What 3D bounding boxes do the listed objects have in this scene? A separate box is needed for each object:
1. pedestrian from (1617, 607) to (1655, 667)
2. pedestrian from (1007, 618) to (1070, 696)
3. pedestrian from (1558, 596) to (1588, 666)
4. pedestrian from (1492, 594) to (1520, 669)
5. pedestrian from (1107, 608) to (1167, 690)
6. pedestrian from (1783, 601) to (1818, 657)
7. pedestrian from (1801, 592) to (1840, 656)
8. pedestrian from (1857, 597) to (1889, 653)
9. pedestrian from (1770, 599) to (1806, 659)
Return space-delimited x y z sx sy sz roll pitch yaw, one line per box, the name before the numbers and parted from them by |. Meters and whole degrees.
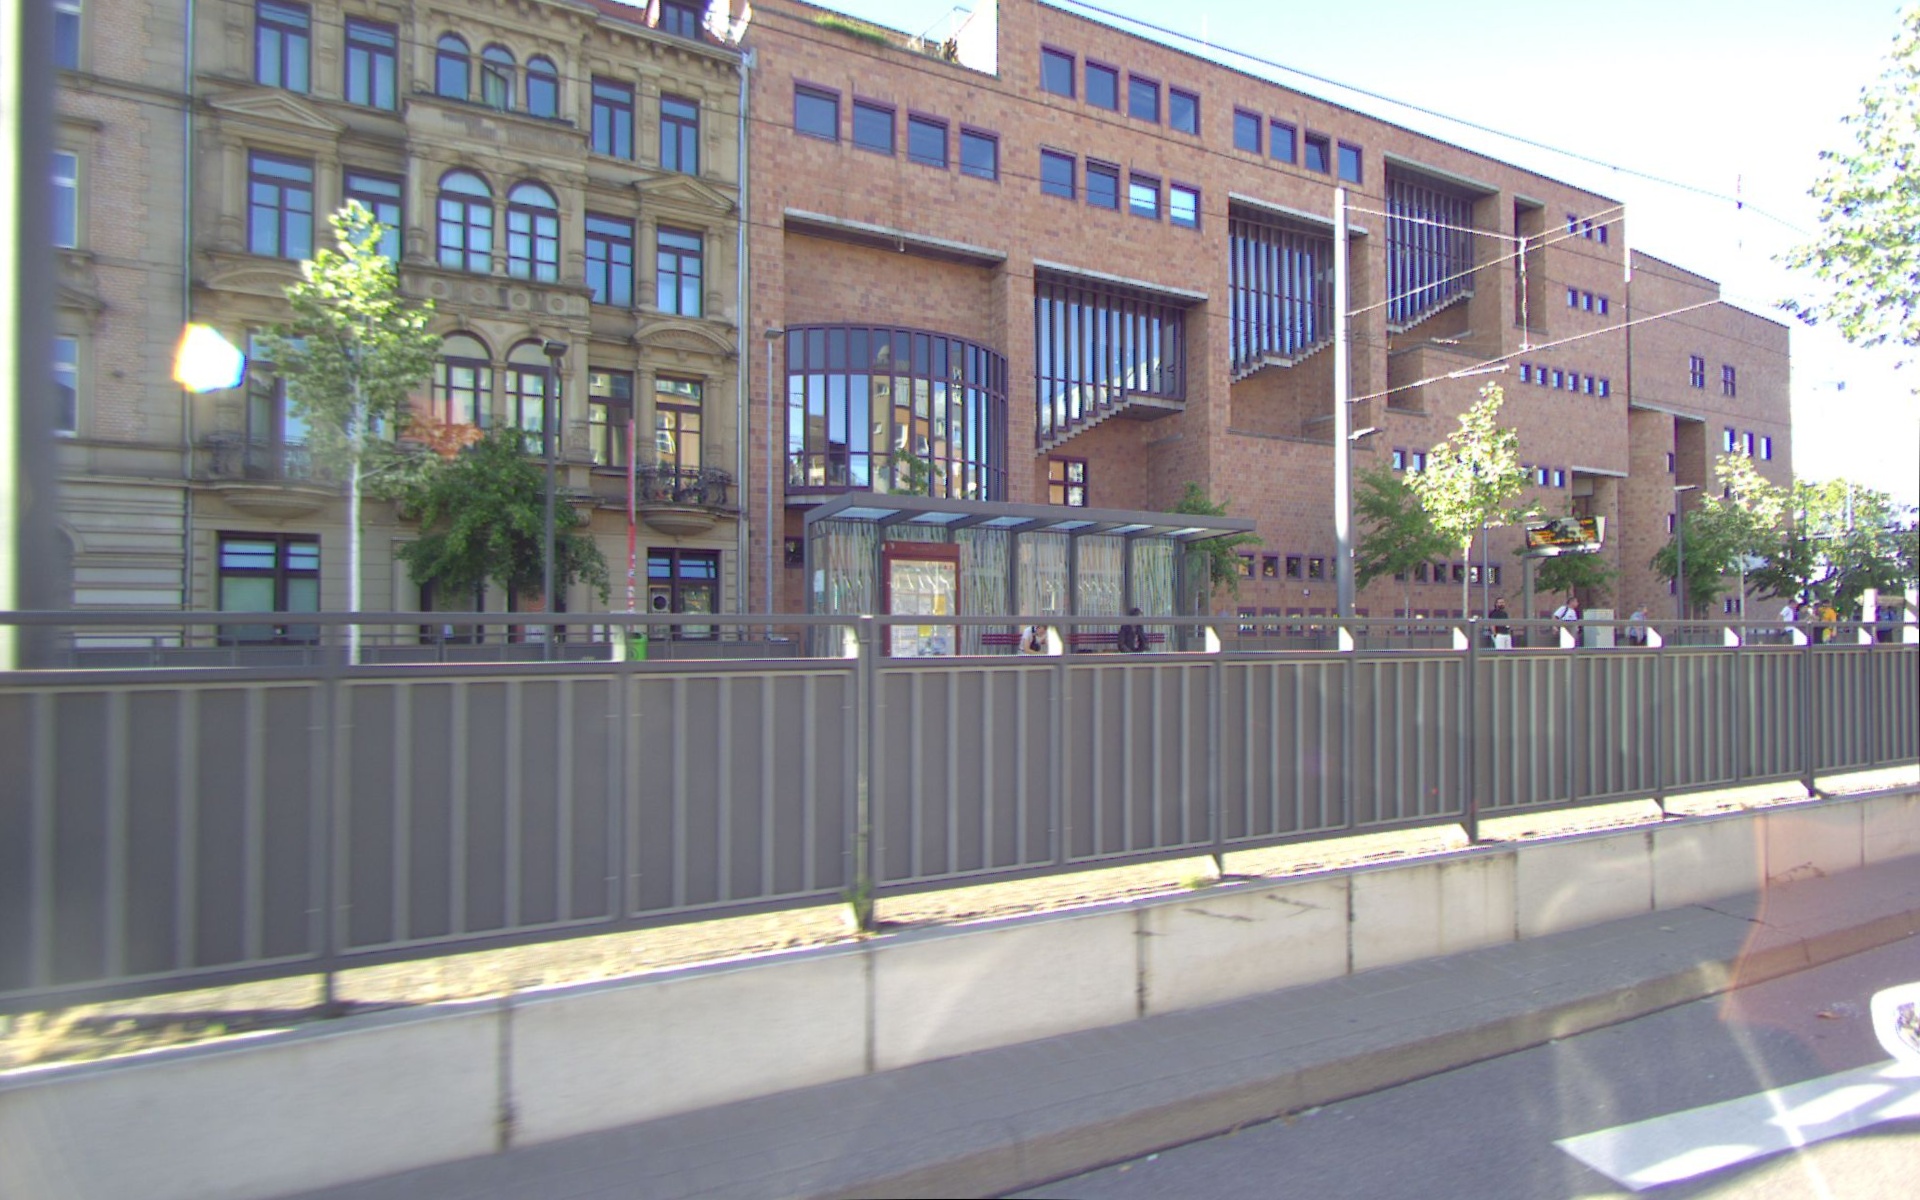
pedestrian | 16.949 0.909 25.198 0.634 1.479 0.537 0 0 -27
pedestrian | 1.229 0.891 15.813 0.712 1.183 0.719 0 -3 -27
pedestrian | 14.543 0.730 23.828 0.546 1.643 0.376 0 1 -27
pedestrian | 12.283 0.704 22.594 0.410 1.670 0.376 0 1 -27
pedestrian | 2.962 0.821 16.847 0.712 1.326 0.644 0 -3 -27
pedestrian | 24.757 0.854 29.589 0.608 1.633 0.620 0 0 -27
pedestrian | 23.414 0.631 27.329 0.534 1.718 0.638 0 0 -27
pedestrian | 29.134 0.804 32.041 0.608 1.761 0.579 0 0 -27
pedestrian | 24.045 0.837 29.173 0.608 1.737 0.620 0 0 -27
